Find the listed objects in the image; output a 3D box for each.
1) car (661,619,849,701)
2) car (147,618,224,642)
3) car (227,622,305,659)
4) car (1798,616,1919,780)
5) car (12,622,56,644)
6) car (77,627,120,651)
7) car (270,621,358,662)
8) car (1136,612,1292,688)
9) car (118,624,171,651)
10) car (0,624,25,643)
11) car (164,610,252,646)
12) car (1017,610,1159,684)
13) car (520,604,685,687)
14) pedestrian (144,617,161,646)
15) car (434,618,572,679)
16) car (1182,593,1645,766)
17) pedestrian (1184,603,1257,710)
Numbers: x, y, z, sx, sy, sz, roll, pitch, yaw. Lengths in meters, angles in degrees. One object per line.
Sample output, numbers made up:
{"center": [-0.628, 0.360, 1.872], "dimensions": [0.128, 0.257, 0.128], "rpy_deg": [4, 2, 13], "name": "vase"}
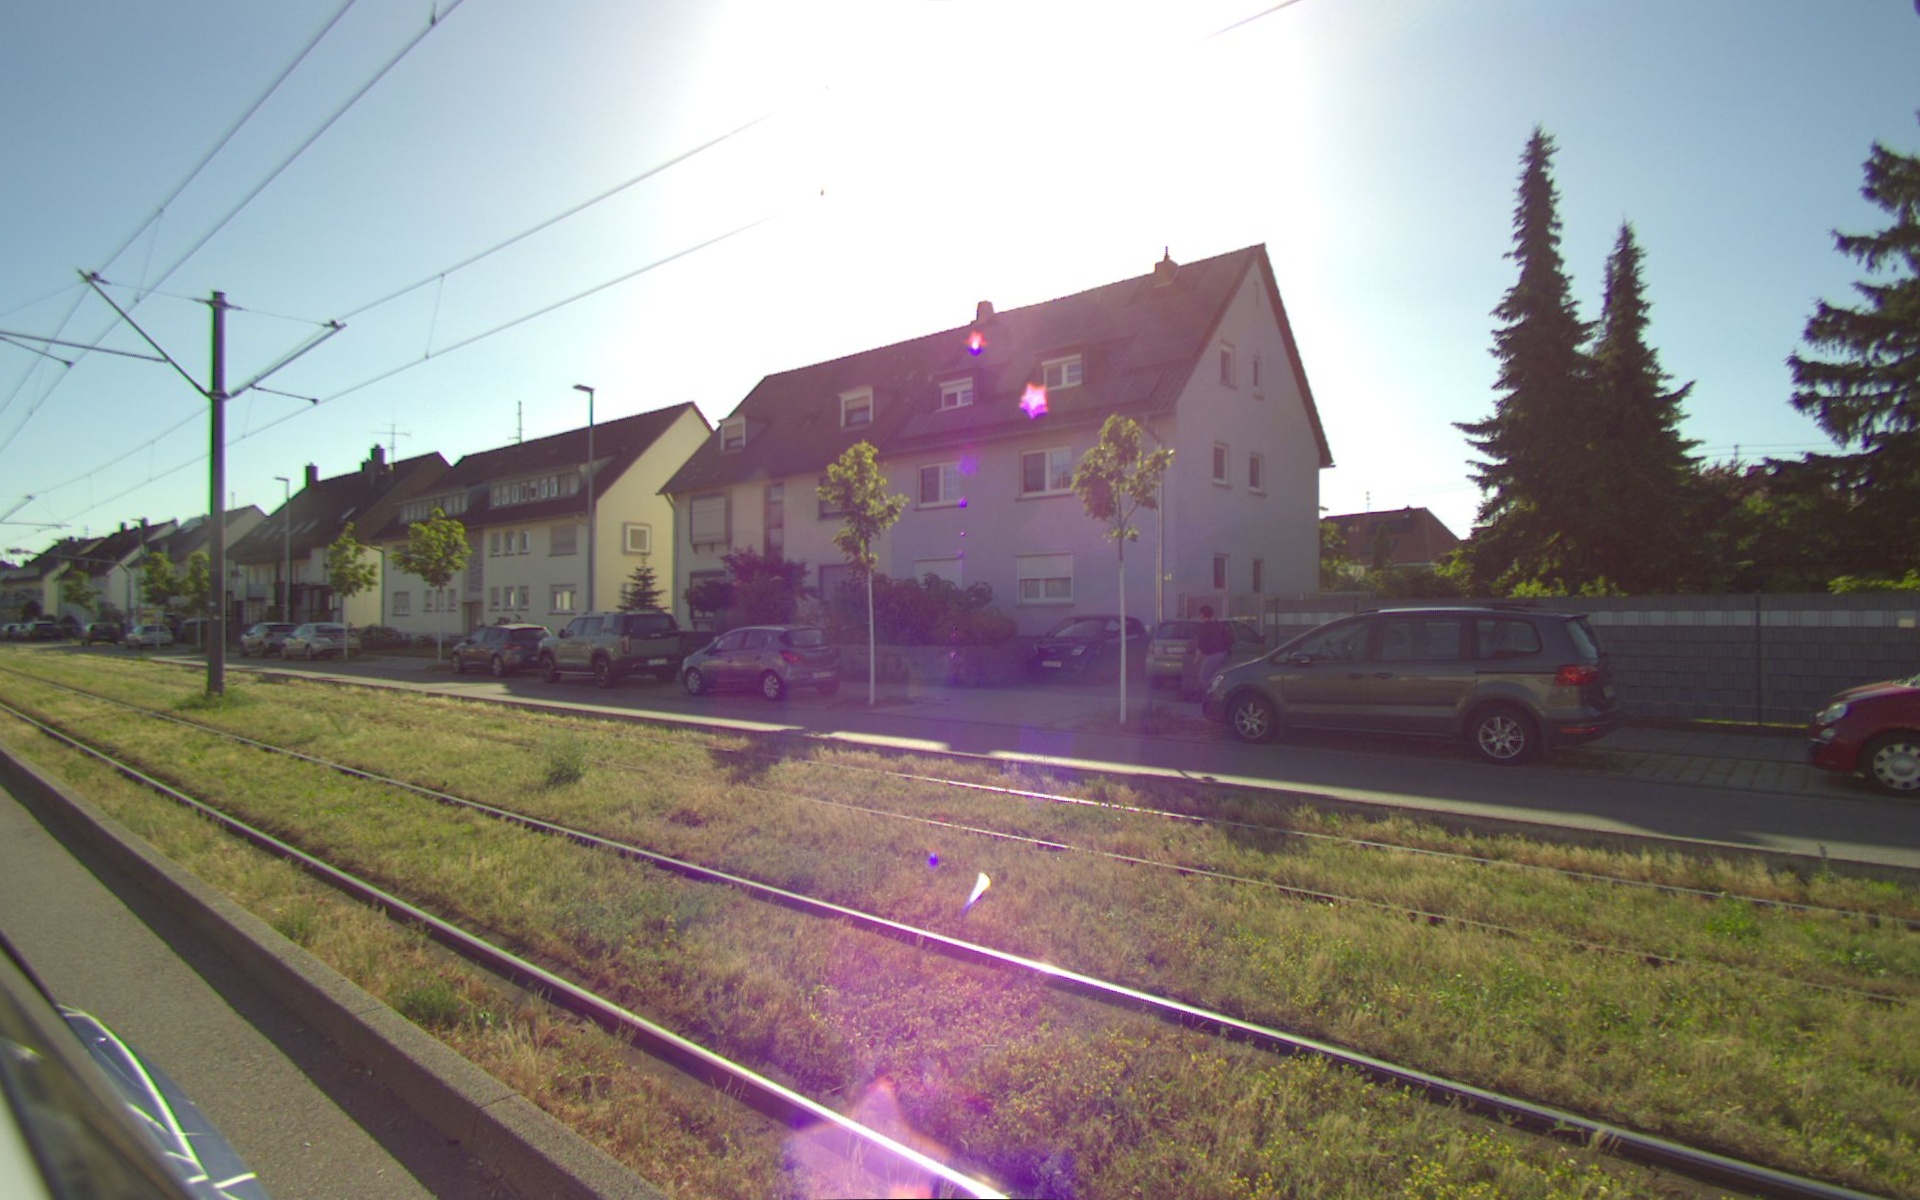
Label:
{"center": [-4.351, 1.187, 21.157], "dimensions": [4.046, 1.502, 1.660], "rpy_deg": [-1, 0, 39], "name": "car"}
{"center": [-59.366, 2.267, 77.627], "dimensions": [1.968, 1.797, 4.348], "rpy_deg": [-2, -2, 40], "name": "car"}
{"center": [-30.173, 1.712, 43.980], "dimensions": [4.311, 1.484, 1.672], "rpy_deg": [-1, 0, 40], "name": "car"}
{"center": [9.755, 0.840, 8.530], "dimensions": [4.077, 1.415, 1.677], "rpy_deg": [-1, -2, 42], "name": "car"}
{"center": [-74.016, 2.606, 80.879], "dimensions": [4.853, 1.572, 1.902], "rpy_deg": [-1, 0, 39], "name": "car"}
{"center": [-57.355, 2.592, 67.325], "dimensions": [4.083, 1.523, 1.602], "rpy_deg": [-1, 0, 41], "name": "car"}
{"center": [-25.558, 1.595, 39.993], "dimensions": [4.439, 1.486, 1.672], "rpy_deg": [-1, 0, 40], "name": "car"}
{"center": [5.442, 0.990, 21.459], "dimensions": [1.705, 1.485, 3.573], "rpy_deg": [-1, -1, 43], "name": "car"}
{"center": [-47.595, 2.164, 59.033], "dimensions": [4.099, 1.447, 1.641], "rpy_deg": [-1, -1, 40], "name": "car"}
{"center": [-82.186, 2.869, 87.362], "dimensions": [4.396, 1.466, 1.637], "rpy_deg": [-1, 0, 40], "name": "car"}
{"center": [-50.802, 1.870, 68.444], "dimensions": [1.786, 2.096, 4.415], "rpy_deg": [-1, 2, 41], "name": "car"}
{"center": [2.973, 1.005, 23.048], "dimensions": [1.688, 1.472, 3.599], "rpy_deg": [-1, 0, 36], "name": "car"}
{"center": [-8.963, 1.072, 25.157], "dimensions": [4.839, 1.836, 1.727], "rpy_deg": [-1, 0, 42], "name": "car"}
{"center": [-51.507, 2.002, 64.558], "dimensions": [0.676, 1.829, 0.611], "rpy_deg": [-1, 0, 32], "name": "pedestrian"}
{"center": [-13.285, 1.340, 29.299], "dimensions": [4.554, 1.552, 1.940], "rpy_deg": [-1, 0, 41], "name": "car"}
{"center": [5.325, 0.817, 12.368], "dimensions": [4.844, 1.697, 1.800], "rpy_deg": [-1, 0, 42], "name": "car"}
{"center": [4.173, 0.875, 16.197], "dimensions": [0.919, 1.652, 0.689], "rpy_deg": [-1, 0, 39], "name": "pedestrian"}
